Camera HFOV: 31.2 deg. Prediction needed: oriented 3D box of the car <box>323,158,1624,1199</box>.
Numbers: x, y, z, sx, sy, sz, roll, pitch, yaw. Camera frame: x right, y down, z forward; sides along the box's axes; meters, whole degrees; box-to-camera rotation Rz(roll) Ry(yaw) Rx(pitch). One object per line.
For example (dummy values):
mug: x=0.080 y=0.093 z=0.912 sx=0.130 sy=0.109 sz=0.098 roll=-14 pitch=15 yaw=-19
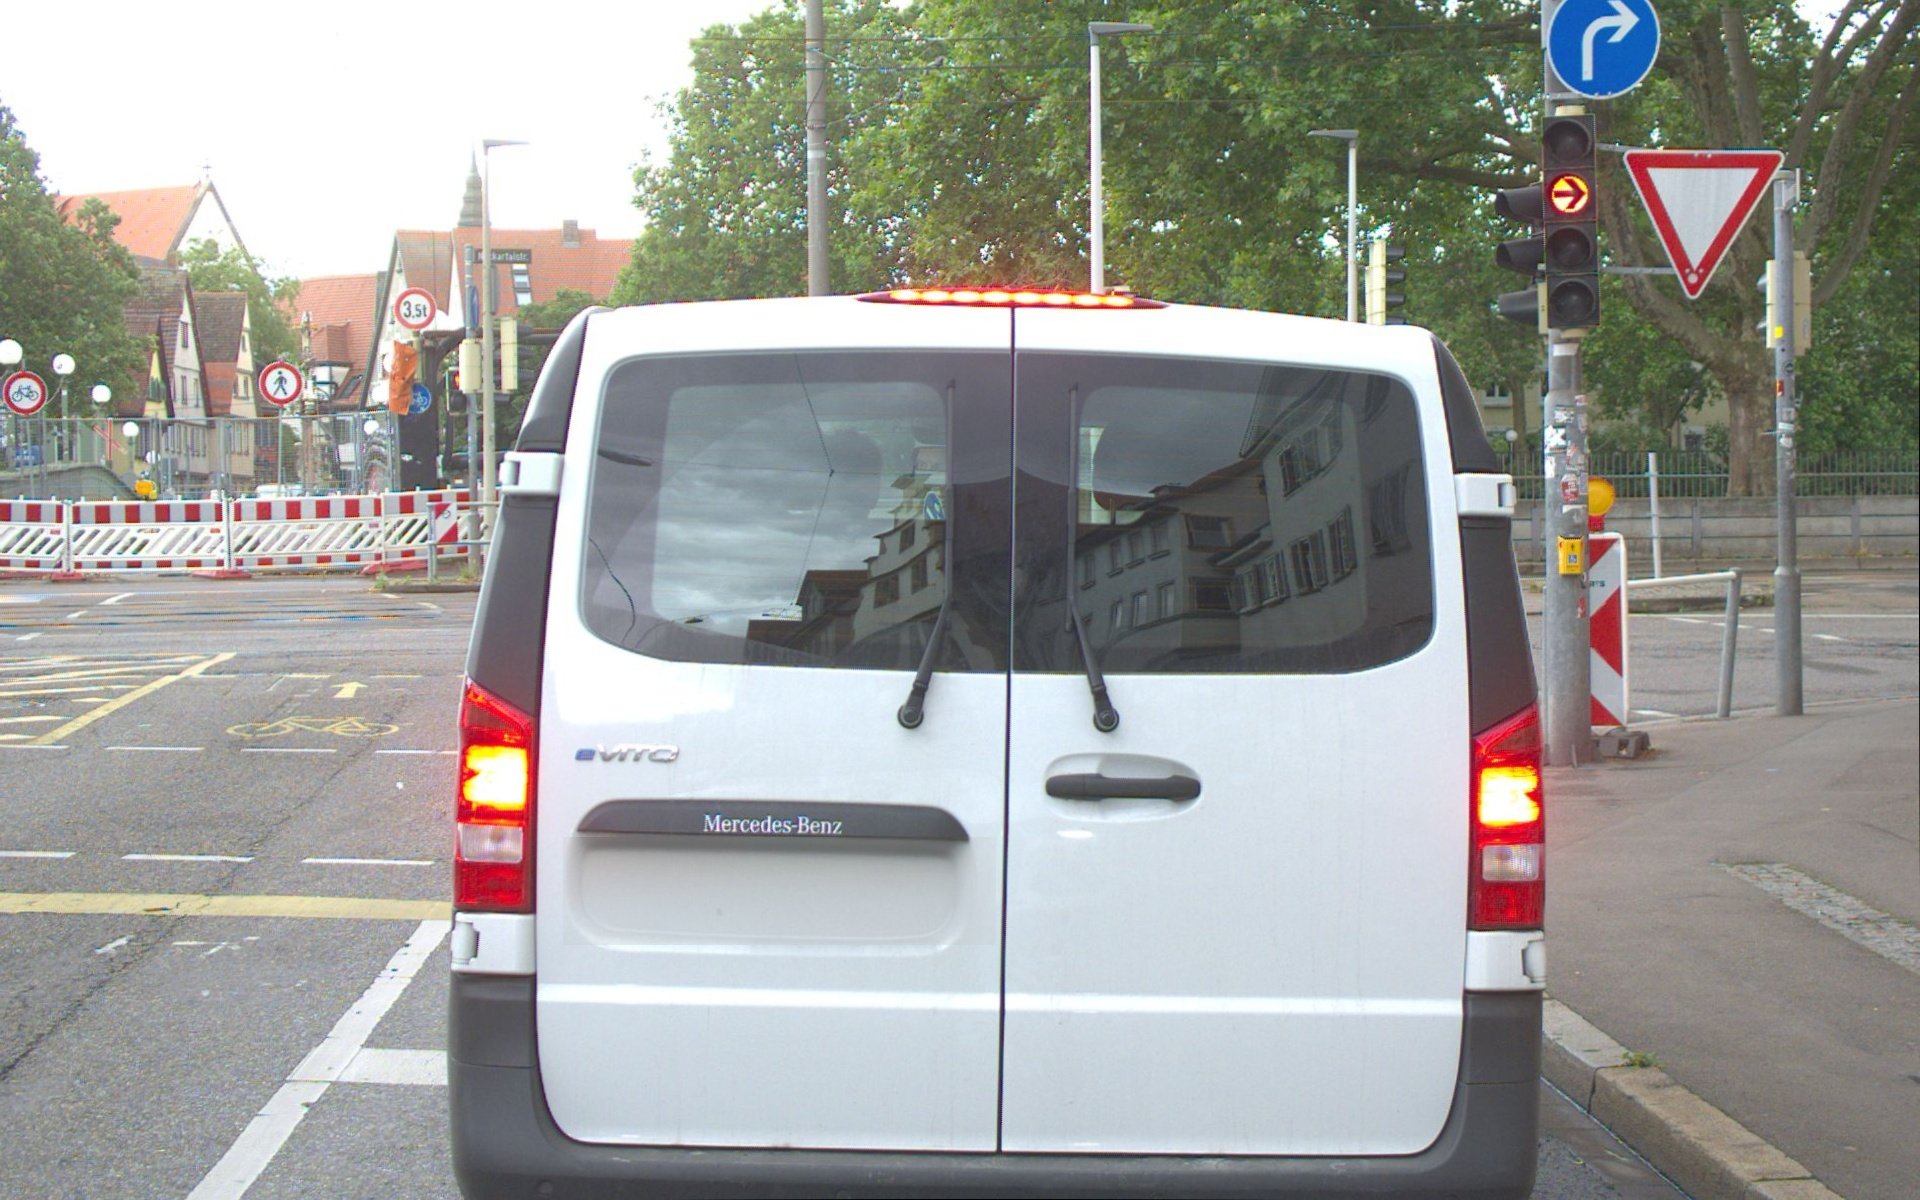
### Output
car: x=-0.012 y=0.252 z=7.567 sx=1.951 sy=2.006 sz=4.699 roll=1 pitch=2 yaw=-1
